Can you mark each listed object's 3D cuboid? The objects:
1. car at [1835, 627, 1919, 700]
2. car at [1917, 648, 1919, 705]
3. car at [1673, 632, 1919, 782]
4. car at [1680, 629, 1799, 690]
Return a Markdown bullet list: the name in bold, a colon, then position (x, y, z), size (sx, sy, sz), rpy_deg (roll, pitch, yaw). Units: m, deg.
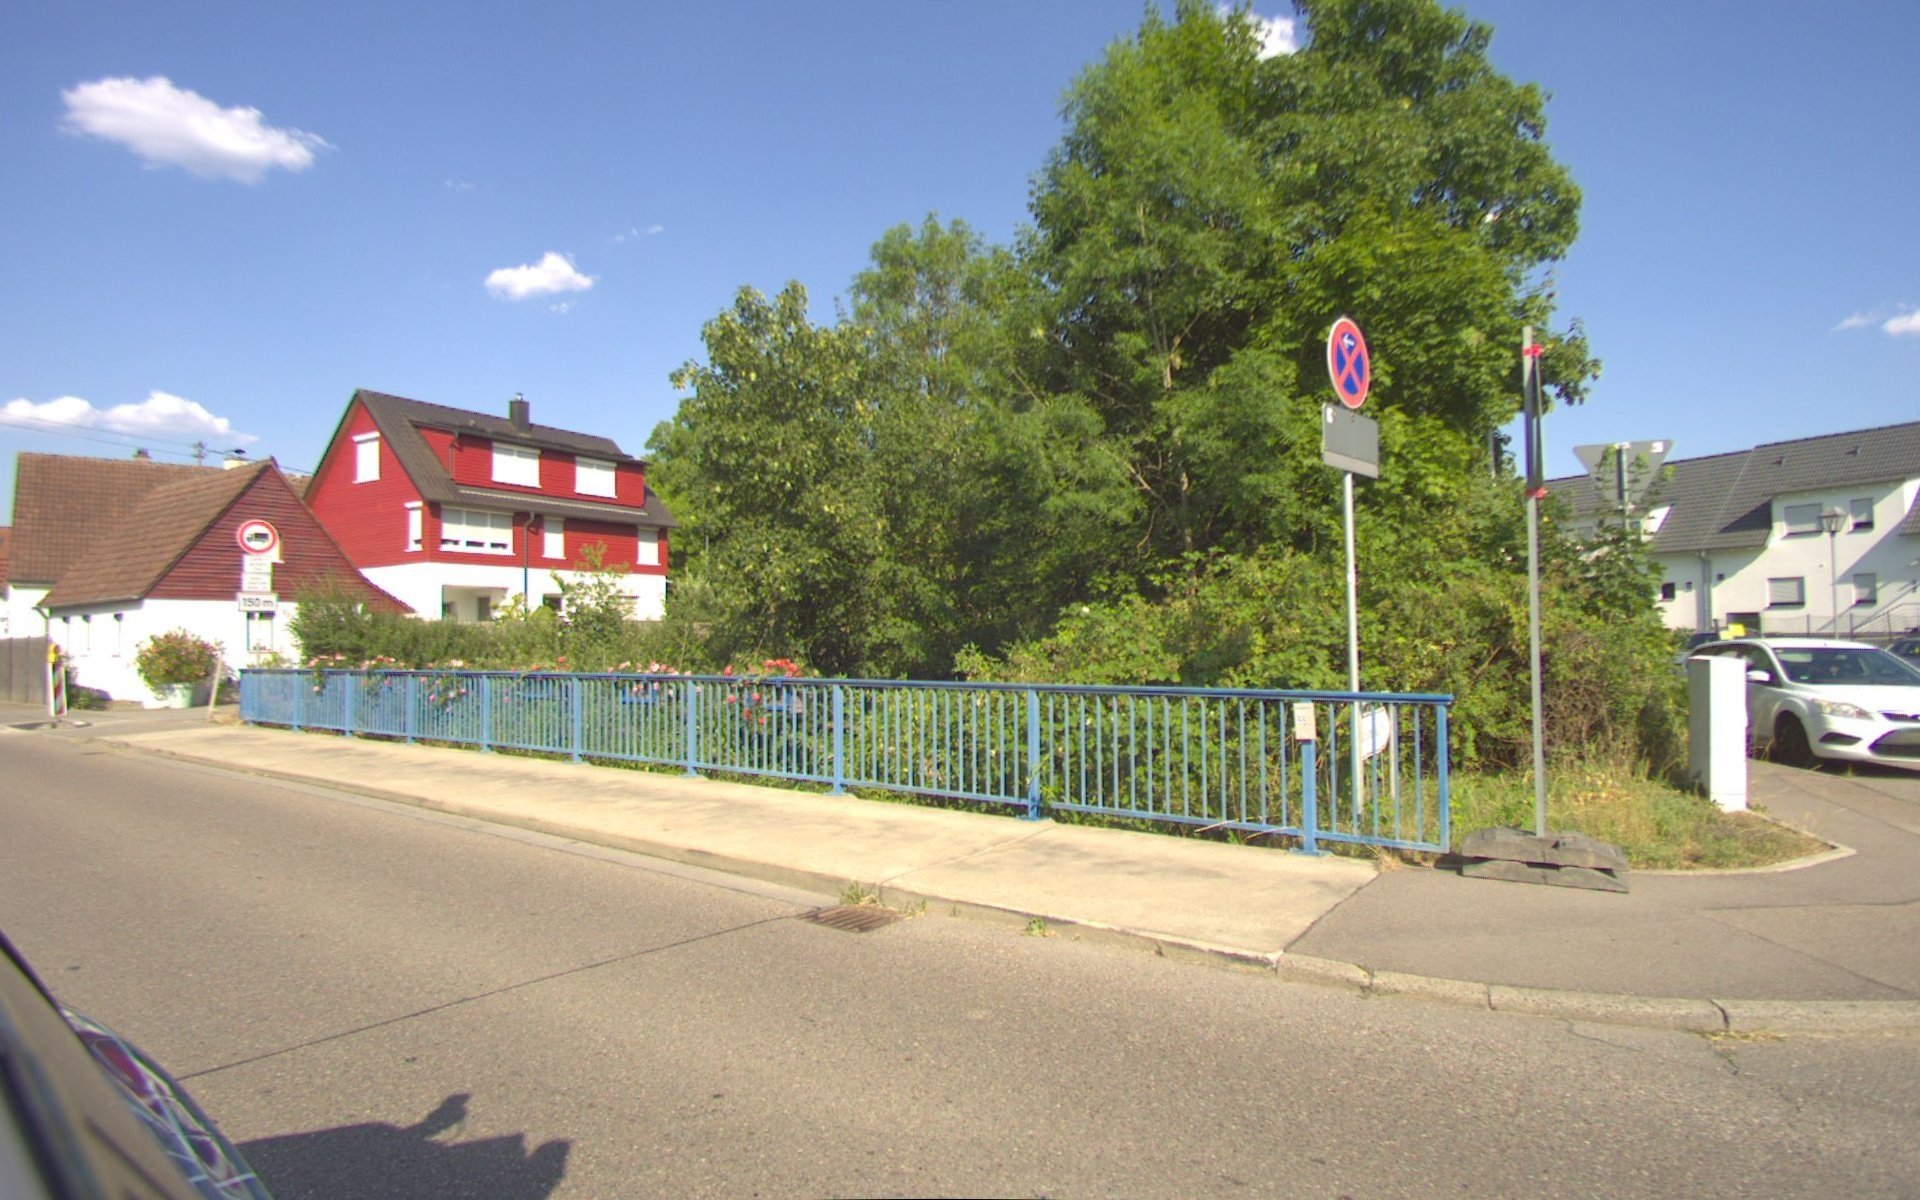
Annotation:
- **car**: position (24.241, 1.540, 25.375), size (4.510, 1.701, 2.124), rpy_deg (1, -2, -30)
- **car**: position (26.490, 1.969, 26.267), size (3.977, 1.442, 1.775), rpy_deg (2, -3, -38)
- **car**: position (10.526, 1.155, 12.123), size (1.845, 1.503, 4.254), rpy_deg (-1, -2, 15)
- **car**: position (22.787, 1.702, 29.562), size (3.977, 1.672, 1.775), rpy_deg (2, -3, -38)
